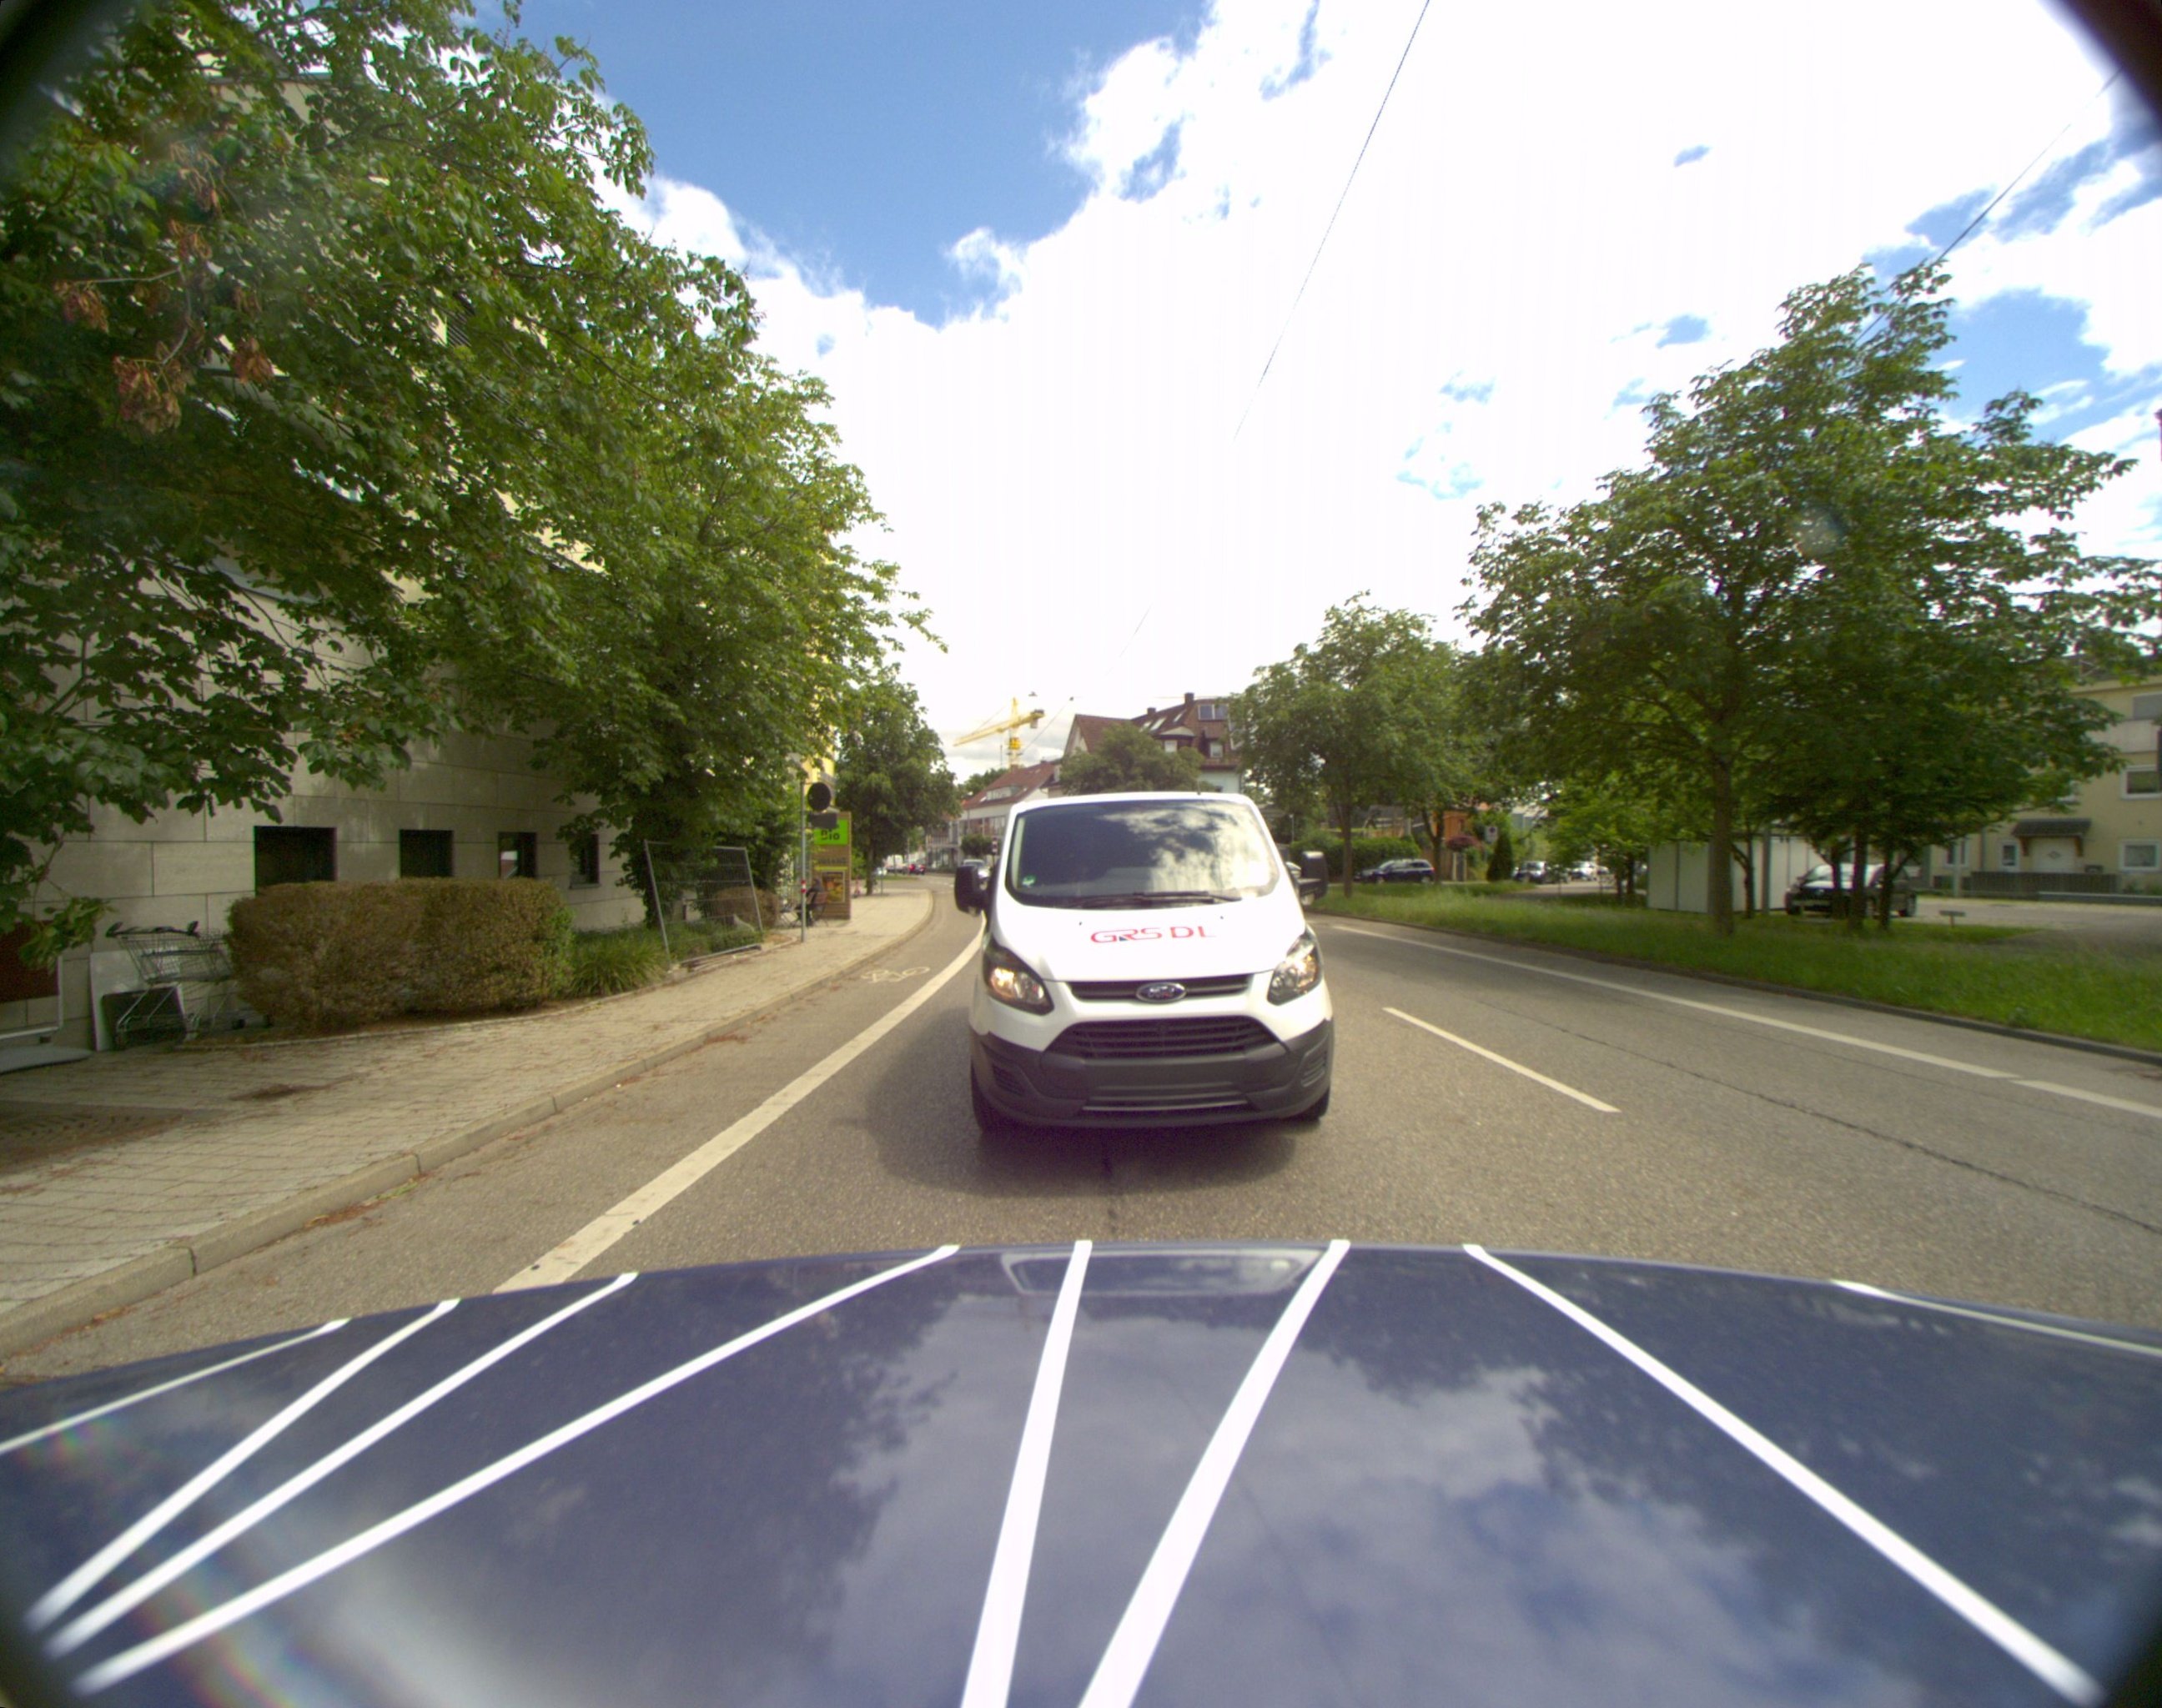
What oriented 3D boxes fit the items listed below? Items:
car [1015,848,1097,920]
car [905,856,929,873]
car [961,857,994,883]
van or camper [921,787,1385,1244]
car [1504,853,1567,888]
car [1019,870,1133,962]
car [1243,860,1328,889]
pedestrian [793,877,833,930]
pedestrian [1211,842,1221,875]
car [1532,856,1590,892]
[{"bbox_3d":[-0.829,0.774,22.063,1.853,1.805,3.996,-3,1,-9],"label":"car"},{"bbox_3d":[-18.537,1.176,85.775,1.744,1.840,3.991,0,0,-26],"label":"car"},{"bbox_3d":[-6.486,0.997,47.307,1.695,1.477,3.996,-2,0,-12],"label":"car"},{"bbox_3d":[0.368,0.708,5.885,2.027,2.002,5.103,0,0,1],"label":"van or camper"},{"bbox_3d":[27.320,0.941,45.649,4.008,2.002,1.976,0,0,-39],"label":"car"},{"bbox_3d":[-0.235,1.039,14.287,1.841,1.382,3.998,0,0,-5],"label":"car"},{"bbox_3d":[10.863,1.081,40.423,4.046,1.314,1.534,-3,1,-13],"label":"car"},{"bbox_3d":[-6.789,1.252,19.287,0.731,1.293,0.754,0,1,0],"label":"pedestrian"},{"bbox_3d":[8.313,0.290,46.788,0.425,2.002,0.363,-2,1,1],"label":"pedestrian"},{"bbox_3d":[30.492,1.233,48.274,4.007,2.002,1.995,-3,1,-41],"label":"car"}]
